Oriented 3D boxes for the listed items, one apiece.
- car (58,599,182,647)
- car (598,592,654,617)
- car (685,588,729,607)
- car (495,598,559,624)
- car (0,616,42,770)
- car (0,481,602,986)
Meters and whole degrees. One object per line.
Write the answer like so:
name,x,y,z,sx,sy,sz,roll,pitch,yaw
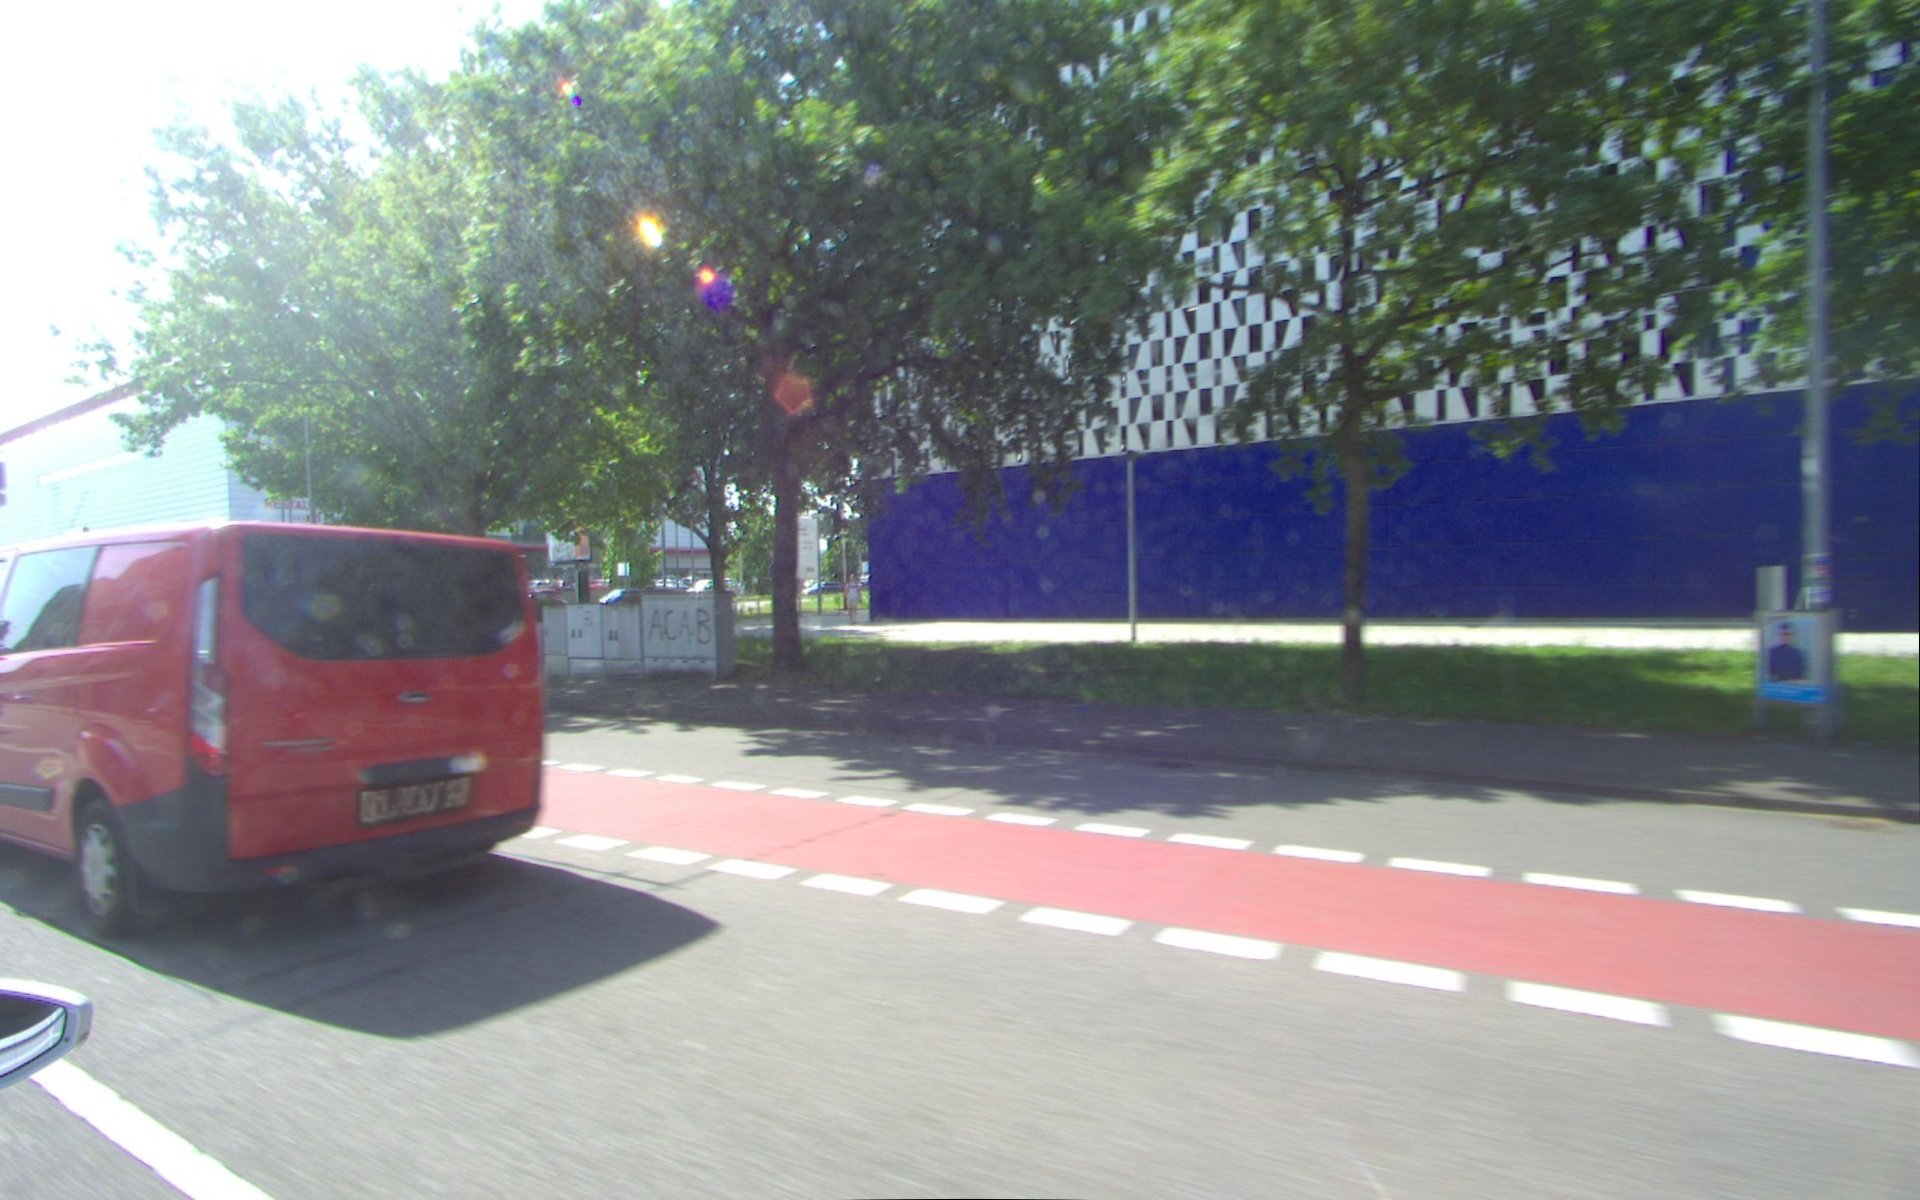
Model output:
car,-41.316,1.092,49.358,1.462,2.022,4.382,0,4,37
car,-24.841,0.324,74.585,1.462,1.540,3.756,0,3,37
car,-20.624,-0.210,81.613,1.289,1.285,3.278,0,4,40
car,-29.958,0.732,69.333,1.462,1.540,3.756,0,3,37
car,-11.361,0.911,10.317,4.412,1.478,1.743,-1,0,33
car,-4.655,0.561,6.158,5.052,1.993,1.963,-1,0,33
